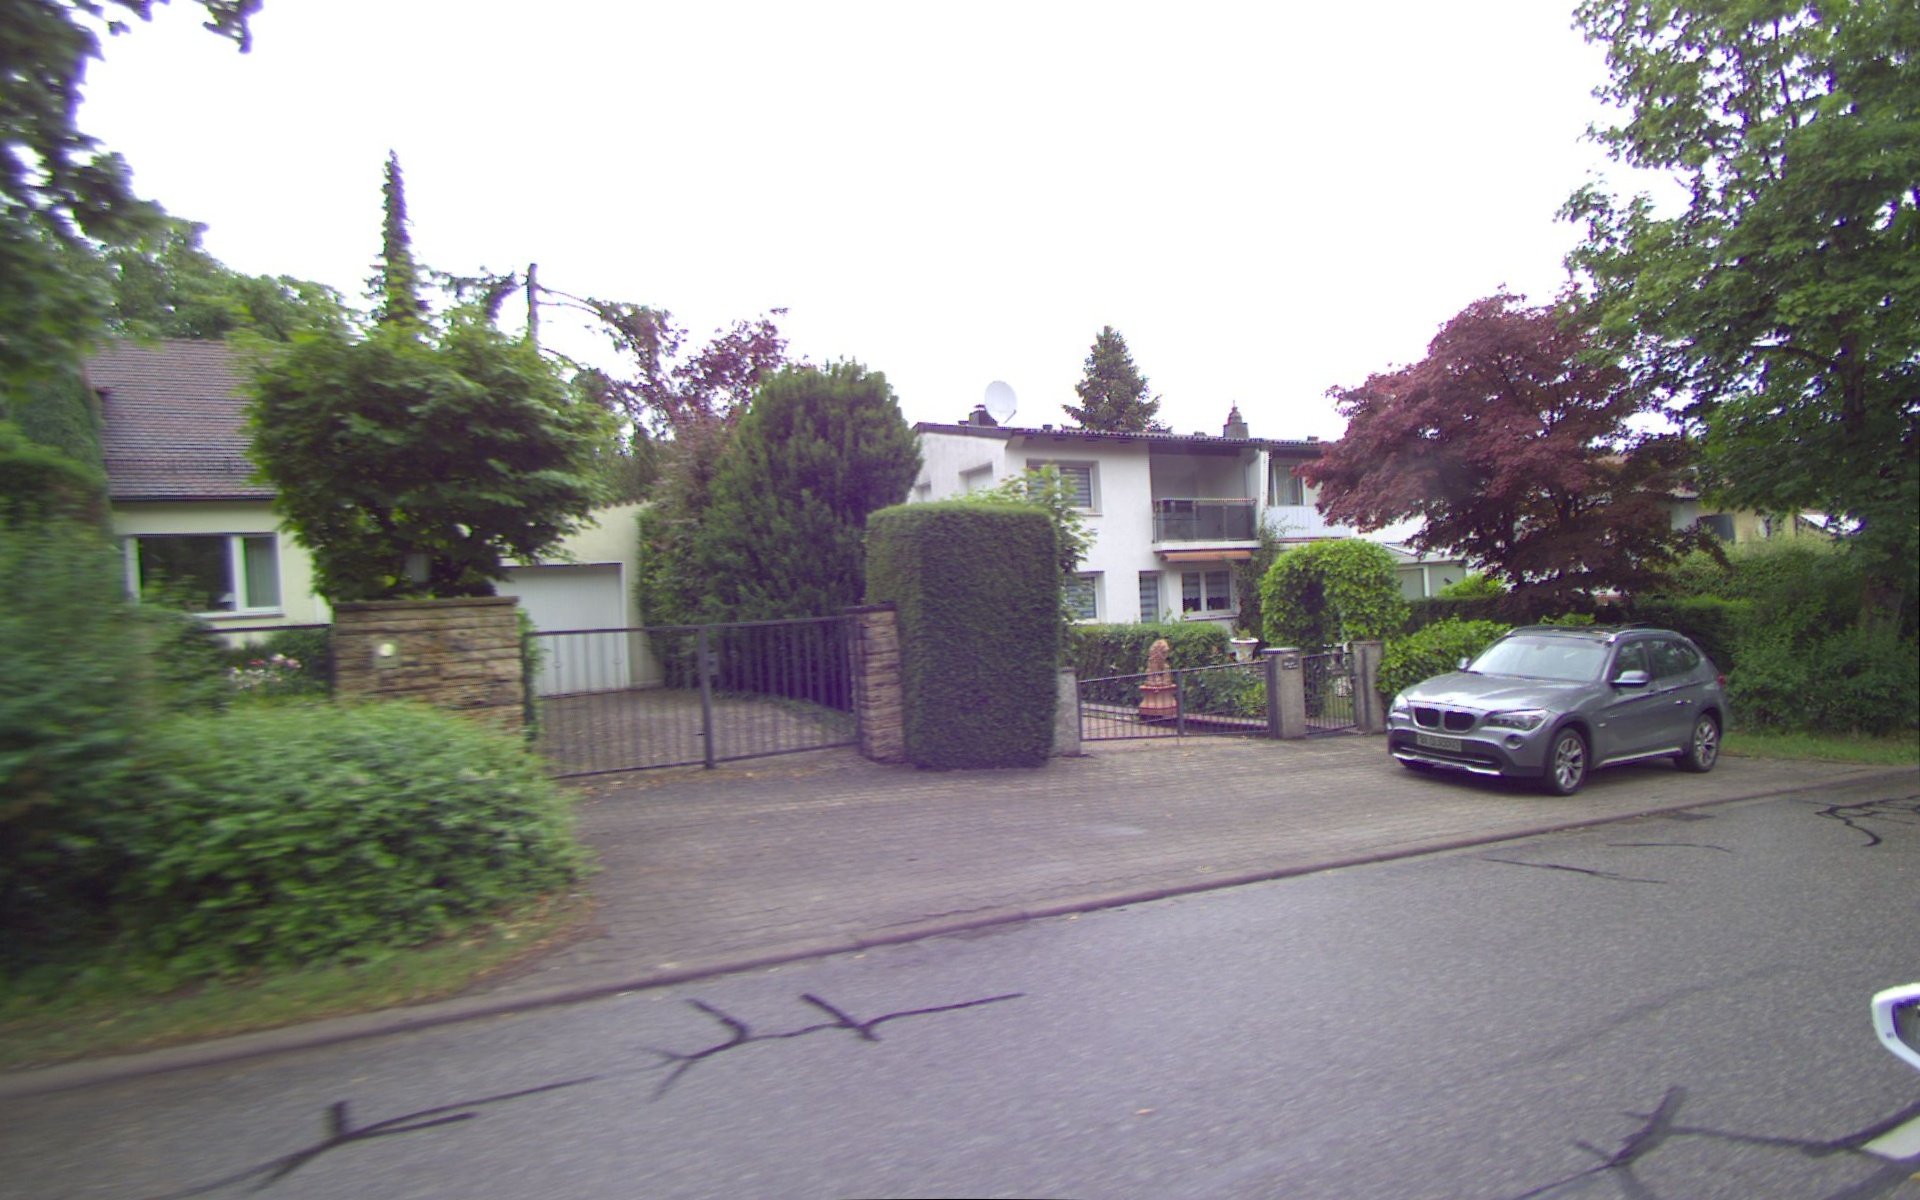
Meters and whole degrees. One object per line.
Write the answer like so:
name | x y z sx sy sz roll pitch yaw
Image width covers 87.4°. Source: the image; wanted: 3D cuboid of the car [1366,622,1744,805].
car | 6.489 1.058 10.846 4.234 1.563 1.655 1 2 -31
